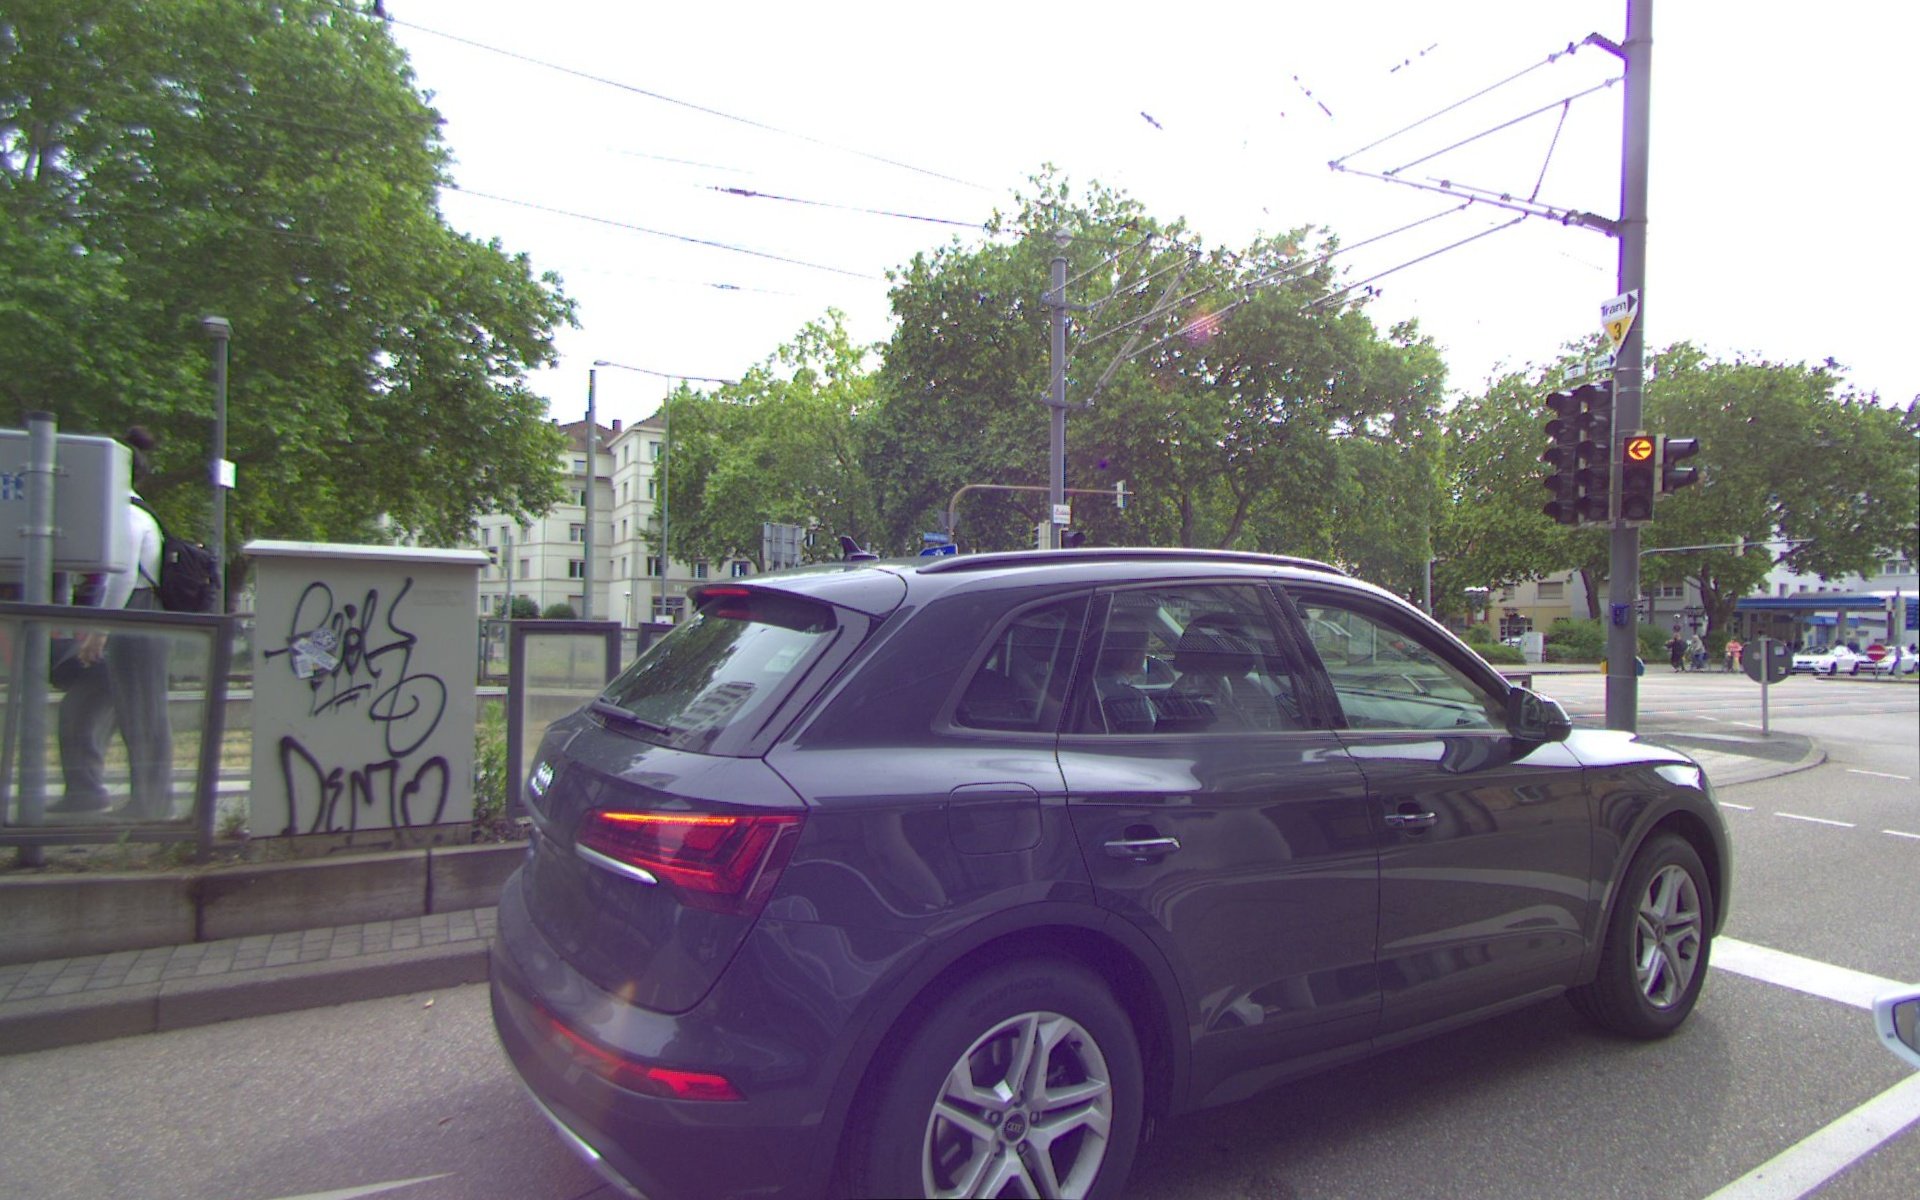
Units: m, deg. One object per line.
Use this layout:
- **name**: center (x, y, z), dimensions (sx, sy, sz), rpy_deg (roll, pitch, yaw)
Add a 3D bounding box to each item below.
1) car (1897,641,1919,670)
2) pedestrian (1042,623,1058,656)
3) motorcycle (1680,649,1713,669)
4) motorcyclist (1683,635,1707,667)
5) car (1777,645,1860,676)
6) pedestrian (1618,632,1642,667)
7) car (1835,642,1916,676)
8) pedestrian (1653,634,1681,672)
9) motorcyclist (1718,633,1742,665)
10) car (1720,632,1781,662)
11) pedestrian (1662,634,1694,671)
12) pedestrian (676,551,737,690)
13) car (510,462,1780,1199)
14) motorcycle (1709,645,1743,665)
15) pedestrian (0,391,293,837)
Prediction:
- **car**: center (52.787, 3.030, 54.603), dimensions (3.593, 1.497, 1.649), rpy_deg (2, 0, -29)
- **pedestrian**: center (4.328, 1.894, 48.168), dimensions (0.644, 1.530, 0.683), rpy_deg (1, -1, -3)
- **motorcycle**: center (35.950, 2.857, 49.027), dimensions (1.928, 0.941, 0.604), rpy_deg (2, -1, -30)
- **motorcyclist**: center (35.810, 2.478, 48.945), dimensions (0.863, 1.540, 0.617), rpy_deg (2, -1, -30)
- **car**: center (41.370, 2.905, 48.394), dimensions (4.025, 1.338, 1.739), rpy_deg (2, 0, -29)
- **pedestrian**: center (33.770, 2.482, 50.644), dimensions (0.732, 1.713, 0.681), rpy_deg (2, 0, -25)
- **car**: center (46.984, 3.018, 51.521), dimensions (3.953, 1.615, 1.984), rpy_deg (2, 0, -30)
- **pedestrian**: center (33.258, 2.473, 47.257), dimensions (0.679, 1.735, 0.867), rpy_deg (1, -1, -14)
- **motorcyclist**: center (37.241, 2.362, 48.571), dimensions (0.863, 1.540, 0.617), rpy_deg (2, -1, -30)
- **car**: center (54.566, 3.233, 69.326), dimensions (3.953, 2.040, 1.984), rpy_deg (2, -1, -30)
- **pedestrian**: center (33.950, 2.470, 47.473), dimensions (0.860, 1.735, 0.872), rpy_deg (1, -1, -12)
- **pedestrian**: center (-3.735, 0.299, 14.785), dimensions (0.658, 1.976, 0.732), rpy_deg (2, 0, -30)
- **car**: center (0.833, 0.654, 3.457), dimensions (4.177, 1.658, 1.725), rpy_deg (2, 0, -30)
- **motorcycle**: center (36.935, 2.663, 48.432), dimensions (1.928, 0.941, 0.604), rpy_deg (2, -1, -30)
- **pedestrian**: center (-3.502, 0.061, 4.289), dimensions (0.967, 1.692, 0.716), rpy_deg (2, 0, -27)
